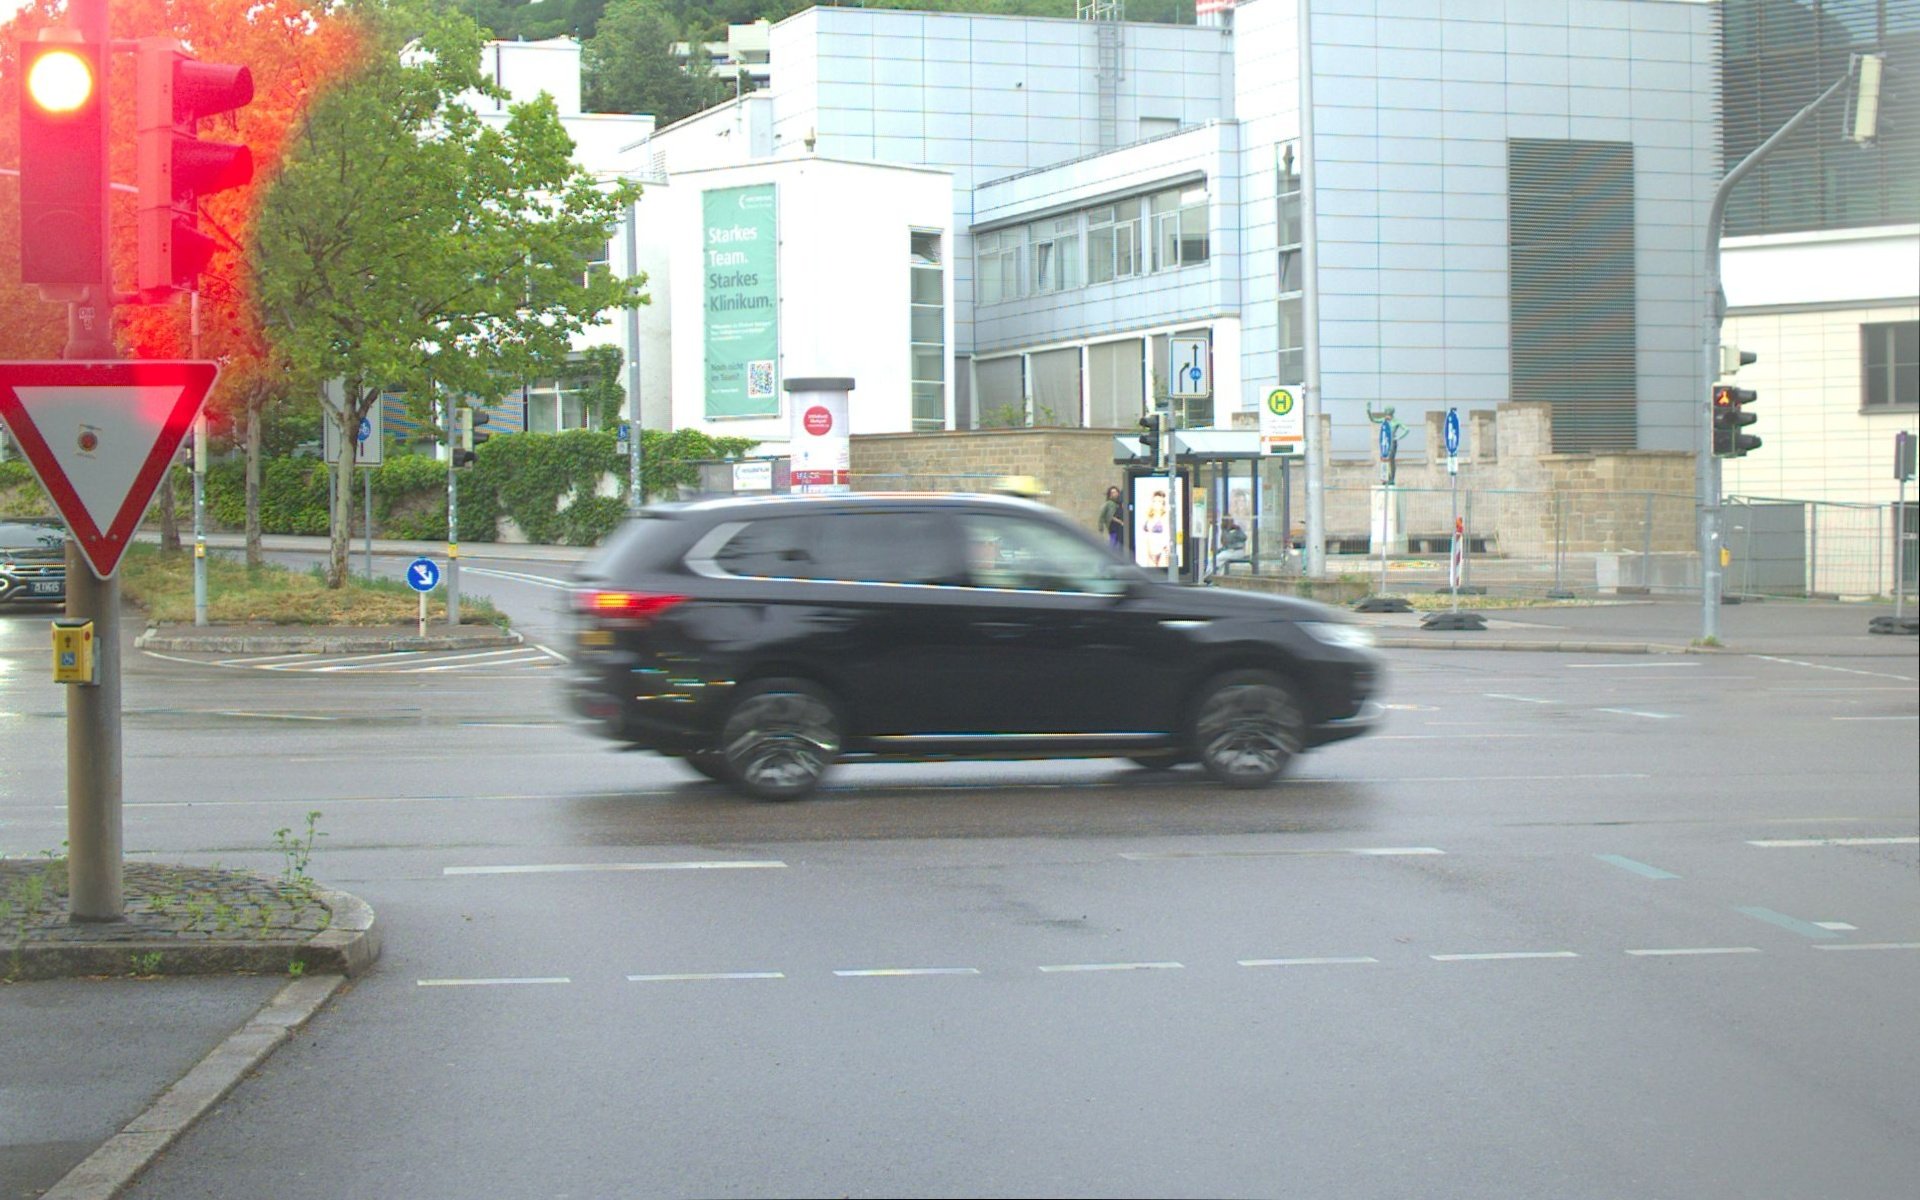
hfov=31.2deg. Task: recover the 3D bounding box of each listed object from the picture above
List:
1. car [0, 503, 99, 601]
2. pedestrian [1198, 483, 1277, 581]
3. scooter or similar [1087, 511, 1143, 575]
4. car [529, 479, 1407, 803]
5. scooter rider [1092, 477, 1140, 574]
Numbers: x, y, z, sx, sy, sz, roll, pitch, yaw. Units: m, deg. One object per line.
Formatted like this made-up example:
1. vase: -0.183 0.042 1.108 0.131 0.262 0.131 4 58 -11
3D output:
1. car: -15.664 -0.838 57.710 1.788 1.579 4.001 -1 2 -22
2. pedestrian: 4.959 -1.205 61.531 1.257 1.713 1.016 1 0 -2
3. scooter or similar: 3.054 -1.119 67.677 0.591 1.234 1.314 1 0 -22
4. car: 0.003 0.172 19.489 4.671 1.700 1.798 0 2 -14
5. scooter rider: 3.066 -1.462 67.684 0.723 1.877 0.632 1 0 -20
